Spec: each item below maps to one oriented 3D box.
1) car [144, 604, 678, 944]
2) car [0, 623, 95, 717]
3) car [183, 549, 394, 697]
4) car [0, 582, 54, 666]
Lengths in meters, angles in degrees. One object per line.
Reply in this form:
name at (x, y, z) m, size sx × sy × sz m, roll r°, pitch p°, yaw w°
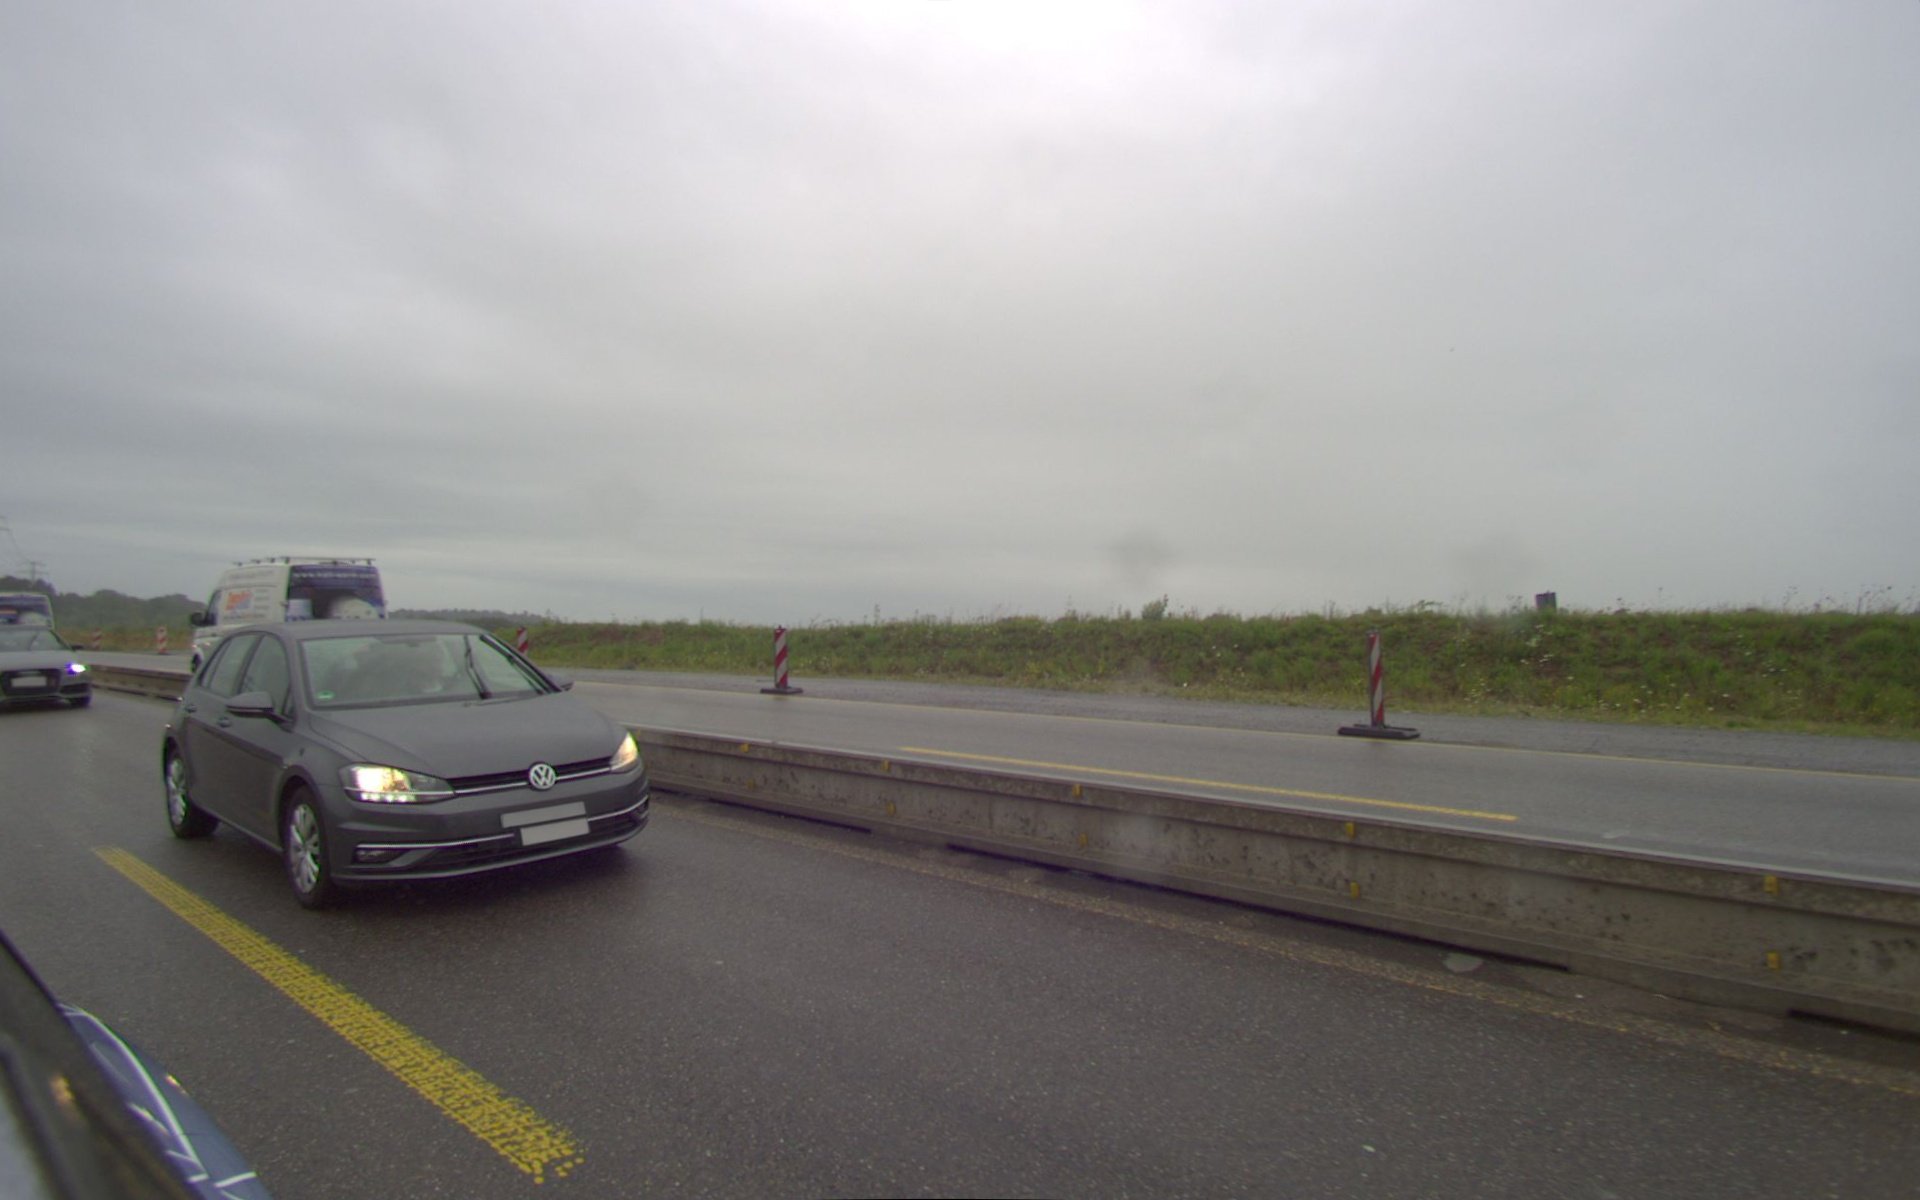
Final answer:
car at (-3.616, 0.760, 6.309) m, size 4.079 × 1.433 × 1.632 m, roll 0°, pitch 0°, yaw 41°
car at (-16.633, 1.154, 17.552) m, size 4.265 × 1.407 × 1.777 m, roll 0°, pitch 1°, yaw 40°
car at (-13.551, 0.475, 20.234) m, size 5.954 × 2.568 × 2.003 m, roll -2°, pitch -2°, yaw 41°
car at (-36.859, 0.924, 39.064) m, size 5.774 × 3.036 × 1.974 m, roll -2°, pitch 0°, yaw 40°
